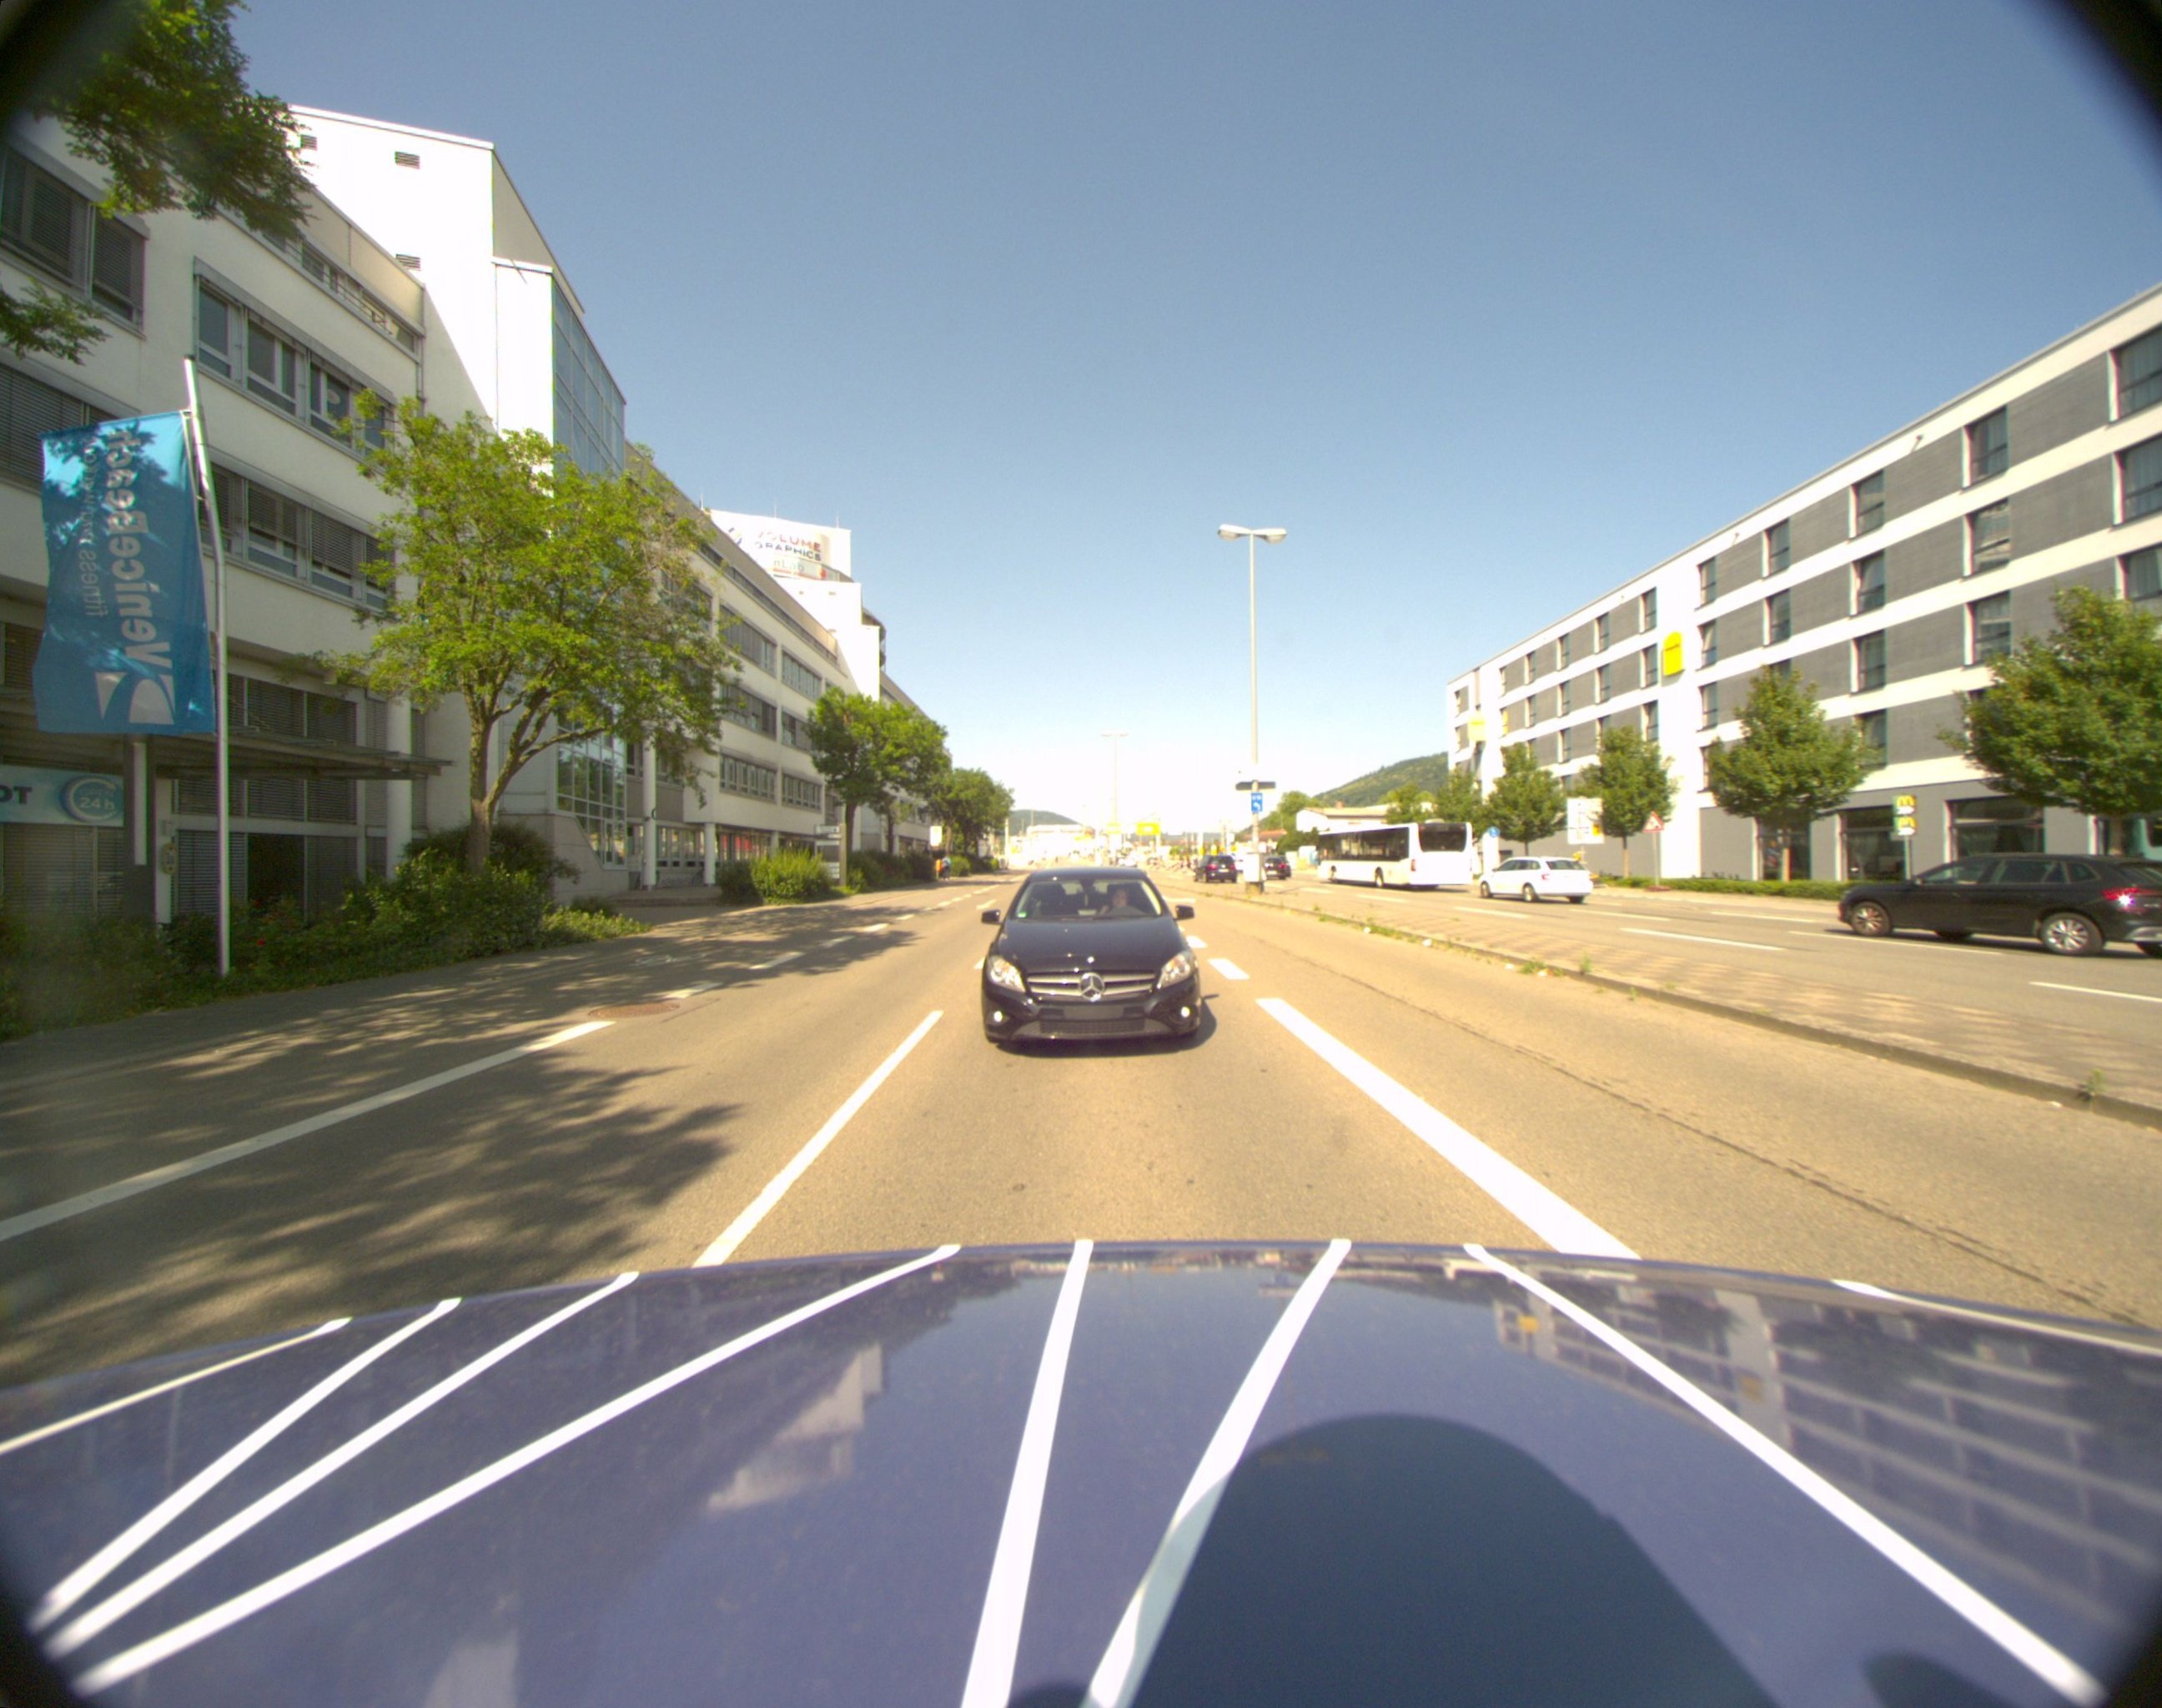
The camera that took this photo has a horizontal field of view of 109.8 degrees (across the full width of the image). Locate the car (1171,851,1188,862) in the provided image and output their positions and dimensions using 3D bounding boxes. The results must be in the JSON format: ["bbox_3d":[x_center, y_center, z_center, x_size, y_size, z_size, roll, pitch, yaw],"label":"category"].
[{"bbox_3d":[14.445,0.388,111.492,1.998,1.514,4.891,-1,0,1],"label":"car"}]

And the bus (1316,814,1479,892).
[{"bbox_3d":[14.565,-0.072,36.512,2.745,3.061,11.974,1,0,0],"label":"bus"}]

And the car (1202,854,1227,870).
[{"bbox_3d":[14.320,0.825,81.837,1.719,1.609,3.590,-1,0,-5],"label":"car"}]

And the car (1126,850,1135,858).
[{"bbox_3d":[12.022,0.071,184.604,1.999,2.002,3.999,0,0,-1],"label":"car"}]

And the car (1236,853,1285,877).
[{"bbox_3d":[11.488,0.694,48.882,1.998,1.424,4.890,-1,0,0],"label":"car"}]

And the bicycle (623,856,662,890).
[{"bbox_3d":[-18.058,0.770,31.337,0.506,1.346,1.884,-1,0,1],"label":"bicycle"}]

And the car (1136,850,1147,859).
[{"bbox_3d":[12.395,0.028,155.479,1.998,1.702,4.892,0,-1,1],"label":"car"}]

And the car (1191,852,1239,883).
[{"bbox_3d":[7.289,0.691,41.657,1.890,1.608,4.134,-1,0,0],"label":"car"}]

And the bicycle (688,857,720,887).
[{"bbox_3d":[-17.717,0.818,35.734,0.506,1.346,1.884,-1,0,1],"label":"bicycle"}]

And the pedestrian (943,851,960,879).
[{"bbox_3d":[-9.200,0.767,53.910,0.942,1.875,1.289,2,1,0],"label":"pedestrian"}]

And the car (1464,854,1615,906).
[{"bbox_3d":[14.832,0.783,24.918,1.999,1.477,4.410,2,1,-5],"label":"car"}]

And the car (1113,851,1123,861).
[{"bbox_3d":[7.879,0.472,162.428,1.998,2.002,3.999,-2,1,1],"label":"car"}]

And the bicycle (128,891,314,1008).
[{"bbox_3d":[-11.303,1.191,10.088,0.506,1.321,1.883,0,0,-8],"label":"bicycle"}]

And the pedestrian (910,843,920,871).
[{"bbox_3d":[-14.968,0.237,68.670,0.717,2.534,0.716,-1,1,-1],"label":"pedestrian"}]

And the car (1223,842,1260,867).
[{"bbox_3d":[14.045,0.100,66.681,1.999,2.001,3.999,-3,-1,-5],"label":"car"}]

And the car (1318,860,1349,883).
[{"bbox_3d":[14.294,0.961,43.051,1.058,1.200,2.220,-2,1,2],"label":"car"}]

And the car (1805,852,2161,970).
[{"bbox_3d":[15.156,0.790,12.551,1.999,1.568,4.411,2,0,-3],"label":"car"}]

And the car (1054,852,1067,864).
[{"bbox_3d":[-3.522,0.631,132.756,1.998,2.002,4.000,-2,1,2],"label":"car"}]

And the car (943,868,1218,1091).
[{"bbox_3d":[0.018,0.928,7.659,1.905,1.431,4.693,-1,0,1],"label":"car"}]

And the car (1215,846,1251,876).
[{"bbox_3d":[10.734,0.451,53.780,1.679,2.002,4.164,-2,1,1],"label":"car"}]
